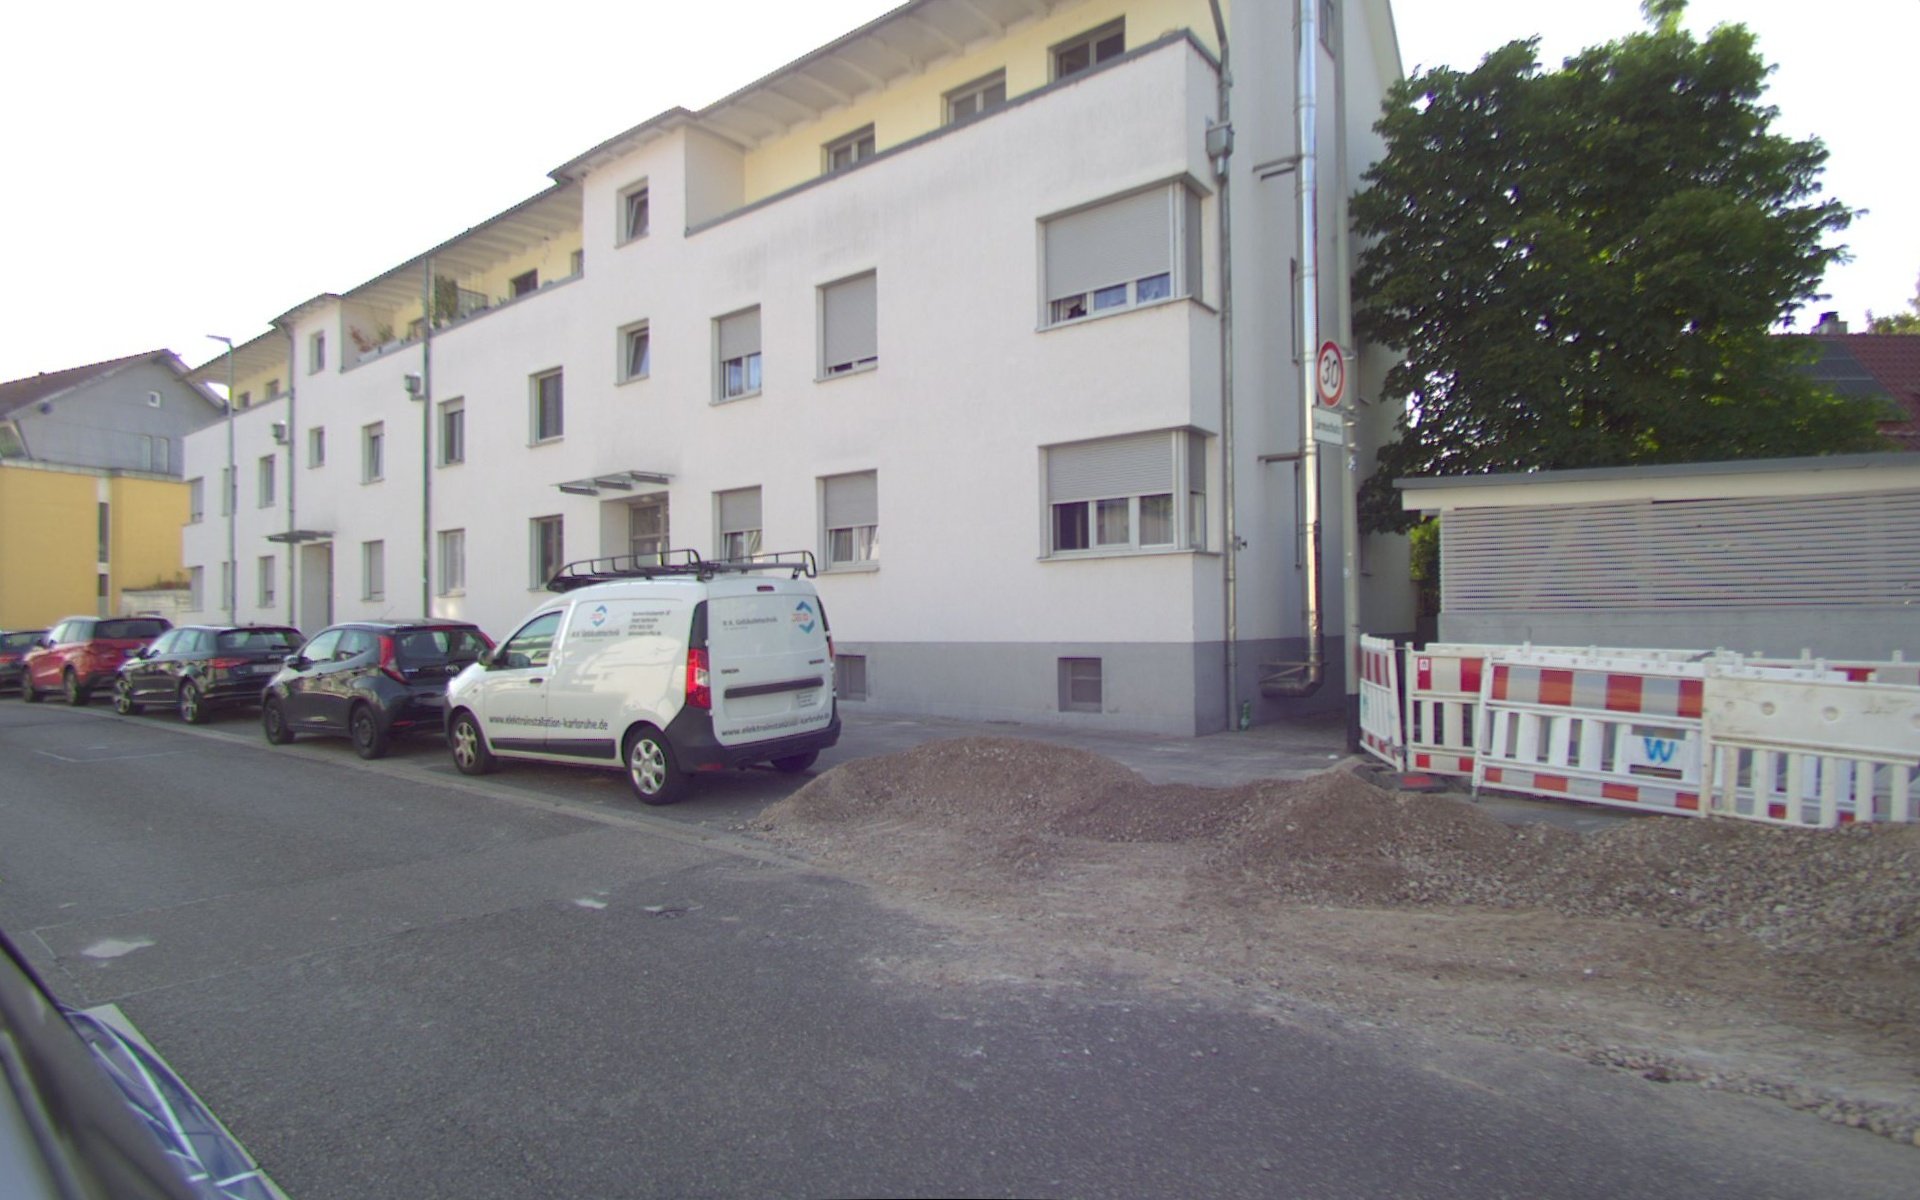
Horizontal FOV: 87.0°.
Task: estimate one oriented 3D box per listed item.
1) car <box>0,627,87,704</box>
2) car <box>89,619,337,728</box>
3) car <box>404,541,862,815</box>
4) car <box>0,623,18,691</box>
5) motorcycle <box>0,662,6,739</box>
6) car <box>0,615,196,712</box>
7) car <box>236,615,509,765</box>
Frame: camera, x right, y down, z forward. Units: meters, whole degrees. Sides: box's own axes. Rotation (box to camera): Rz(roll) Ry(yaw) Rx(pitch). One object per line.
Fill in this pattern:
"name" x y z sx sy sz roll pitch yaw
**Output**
"car" -20.819 1.378 21.886 4.488 1.489 1.714 -2 0 32
"car" -11.726 1.085 15.808 4.249 1.489 1.714 -2 -1 32
"car" -3.150 0.628 9.309 4.429 1.975 1.712 -2 -1 36
"car" -25.289 1.473 25.117 4.164 1.634 1.762 -2 0 32
"motorcycle" -13.576 1.340 13.625 2.196 0.992 0.761 -2 -1 38
"car" -16.407 1.146 19.212 4.251 1.634 1.713 -2 -1 33
"car" -6.953 0.969 11.882 3.507 1.476 1.479 -2 -1 36
